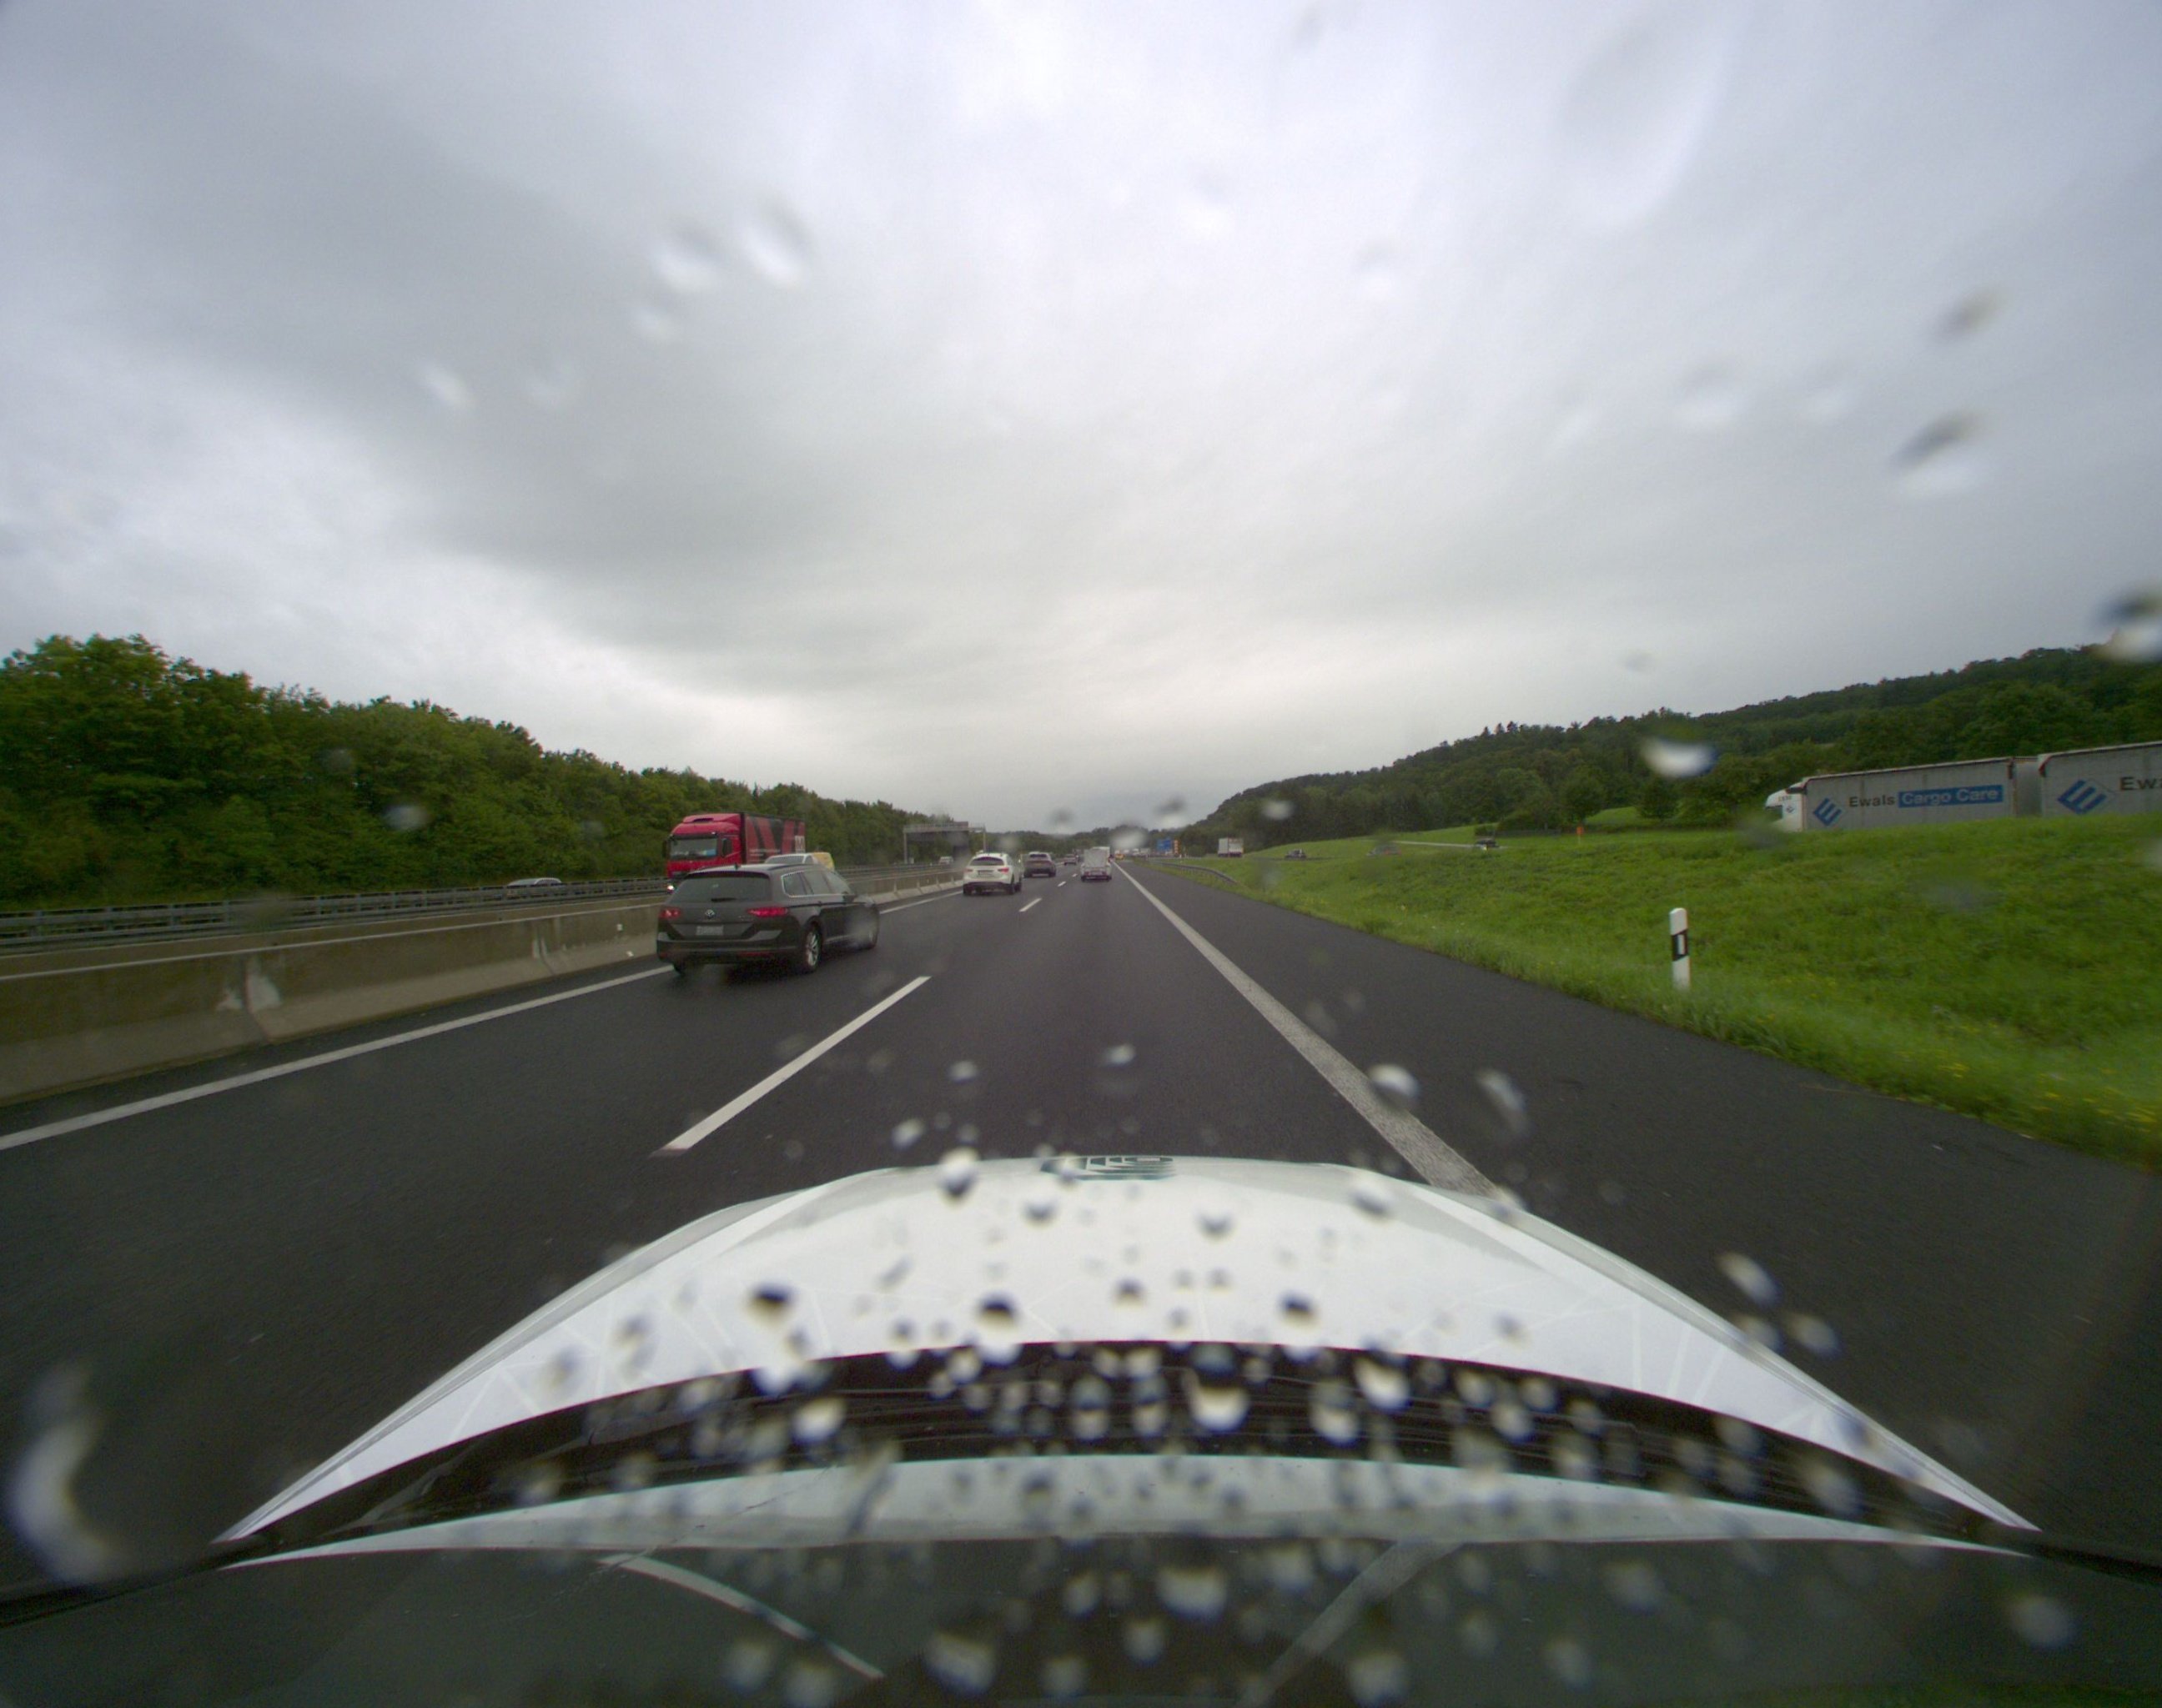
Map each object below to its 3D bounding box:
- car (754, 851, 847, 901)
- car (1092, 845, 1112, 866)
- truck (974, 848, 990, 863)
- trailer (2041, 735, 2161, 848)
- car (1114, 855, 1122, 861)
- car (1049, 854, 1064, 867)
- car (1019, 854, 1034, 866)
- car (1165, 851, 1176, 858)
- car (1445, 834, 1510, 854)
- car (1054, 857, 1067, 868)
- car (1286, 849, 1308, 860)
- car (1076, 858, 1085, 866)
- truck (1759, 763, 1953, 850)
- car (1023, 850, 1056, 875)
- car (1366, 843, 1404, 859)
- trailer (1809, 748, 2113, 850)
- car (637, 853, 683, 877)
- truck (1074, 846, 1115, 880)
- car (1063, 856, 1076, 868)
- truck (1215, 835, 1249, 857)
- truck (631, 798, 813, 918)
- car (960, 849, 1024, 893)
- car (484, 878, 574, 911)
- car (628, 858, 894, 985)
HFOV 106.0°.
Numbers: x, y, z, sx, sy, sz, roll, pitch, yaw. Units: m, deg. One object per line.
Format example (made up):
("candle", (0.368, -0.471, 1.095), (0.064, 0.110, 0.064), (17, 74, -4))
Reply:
("car", (-11.853, 0.865, 34.835), (1.987, 1.863, 5.222), (-3, 0, 1))
("car", (2.861, 0.233, 112.520), (2.325, 2.725, 6.536), (-1, 0, -1))
("truck", (-26.004, 0.454, 214.744), (2.676, 3.661, 9.559), (-2, 0, 1))
("trailer", (35.846, -1.999, 24.929), (3.073, 3.527, 8.070), (0, 0, -5))
("car", (10.224, 1.076, 224.885), (1.989, 1.552, 3.995), (0, 0, -3))
("car", (-3.546, 0.907, 116.618), (1.812, 1.662, 4.019), (-2, 0, 2))
("car", (-8.701, 0.921, 129.530), (1.987, 1.836, 4.679), (0, 0, 0))
("car", (20.362, 0.220, 184.661), (1.988, 1.552, 3.997), (0, 0, -2))
("car", (29.611, -0.698, 60.982), (1.984, 1.377, 5.067), (-2, 0, -6))
("car", (-3.267, 1.386, 130.631), (1.812, 1.662, 4.019), (-2, 0, 2))
("car", (27.670, 0.082, 104.575), (1.694, 1.288, 3.529), (0, 0, -5))
("car", (-0.129, 1.539, 165.211), (1.639, 1.574, 4.002), (0, 0, 2))
("truck", (34.805, -1.996, 36.918), (2.933, 3.527, 5.917), (0, 0, -5))
("car", (-2.914, 0.571, 57.930), (1.968, 1.703, 4.803), (-1, 0, 1))
("car", (24.450, -0.206, 65.687), (1.536, 1.288, 3.529), (0, 0, -4))
("trailer", (35.109, -1.968, 33.201), (2.933, 3.527, 8.404), (0, 0, -5))
("car", (-36.801, 0.946, 71.293), (1.742, 2.013, 4.003), (-2, 0, 2))
("truck", (0.822, 0.485, 48.191), (2.234, 1.839, 6.585), (-1, 0, 1))
("car", (-1.691, 1.162, 122.105), (1.732, 1.794, 4.001), (-1, 0, 1))
("truck", (25.224, -1.258, 136.519), (3.815, 3.659, 8.265), (0, 0, -2))
("truck", (-16.050, 0.149, 37.692), (3.387, 4.733, 10.491), (-1, 0, 2))
("car", (-3.534, 0.651, 33.229), (2.041, 1.670, 4.541), (-1, 0, 1))
("car", (-26.762, 1.940, 39.621), (1.517, 1.398, 4.002), (-1, 0, 2))
("car", (-4.329, 0.809, 11.998), (1.780, 1.459, 4.806), (-1, 0, 3))
